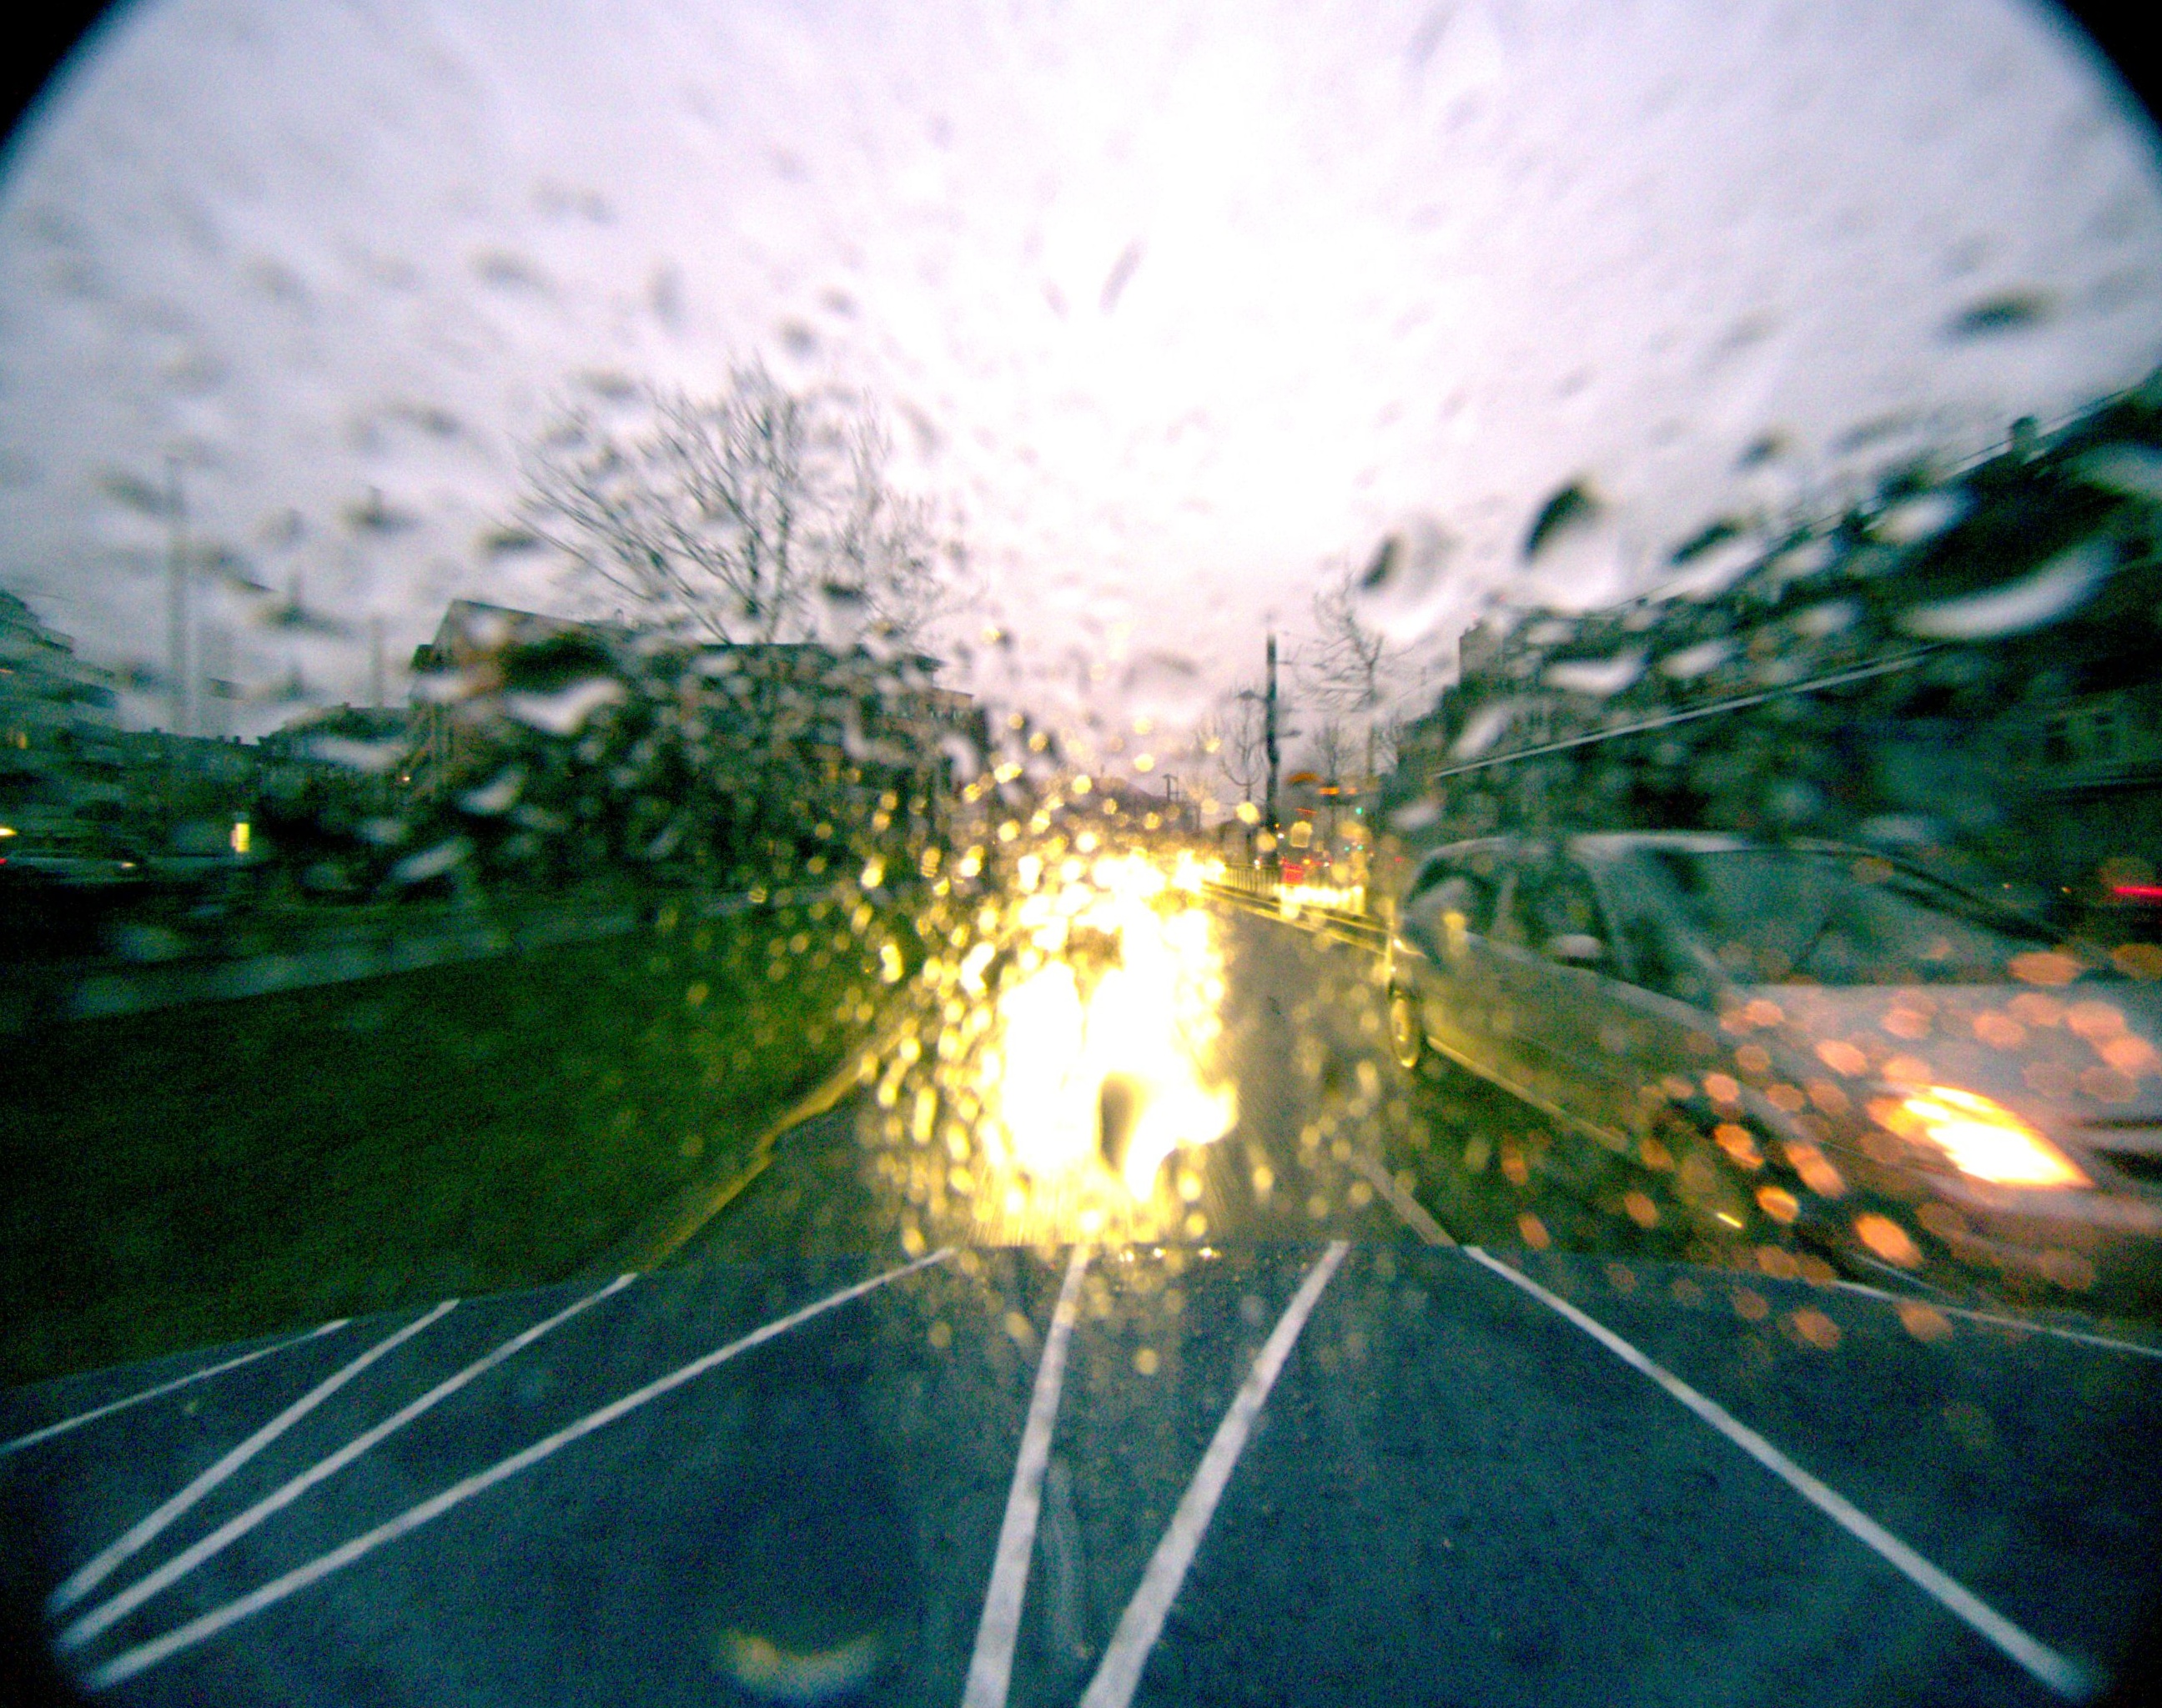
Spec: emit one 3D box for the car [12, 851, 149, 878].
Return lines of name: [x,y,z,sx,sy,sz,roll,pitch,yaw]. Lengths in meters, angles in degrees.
car: [-52.260,0.545,39.832,1.794,1.342,4.268,2,0,39]

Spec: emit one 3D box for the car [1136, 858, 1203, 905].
car: [2.886,0.871,25.458,1.813,1.384,4.053,-1,0,1]

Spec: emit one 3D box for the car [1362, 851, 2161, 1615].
car: [2.973,0.801,3.620,1.813,1.590,4.053,-1,0,1]

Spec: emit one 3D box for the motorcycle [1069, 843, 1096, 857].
motorcycle: [0.270,-0.568,114.861,3.997,2.002,0.926,-2,1,1]

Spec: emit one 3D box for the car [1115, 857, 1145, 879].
car: [3.223,0.898,50.683,1.813,1.384,4.053,-1,0,1]

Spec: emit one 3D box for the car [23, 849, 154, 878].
car: [-53.778,0.501,41.332,1.794,1.446,4.268,2,0,39]

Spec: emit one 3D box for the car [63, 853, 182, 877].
car: [-56.009,0.634,44.506,1.794,1.342,4.268,2,0,39]

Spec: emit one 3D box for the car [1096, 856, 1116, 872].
car: [2.285,0.908,71.244,1.813,1.384,4.053,-1,0,1]
